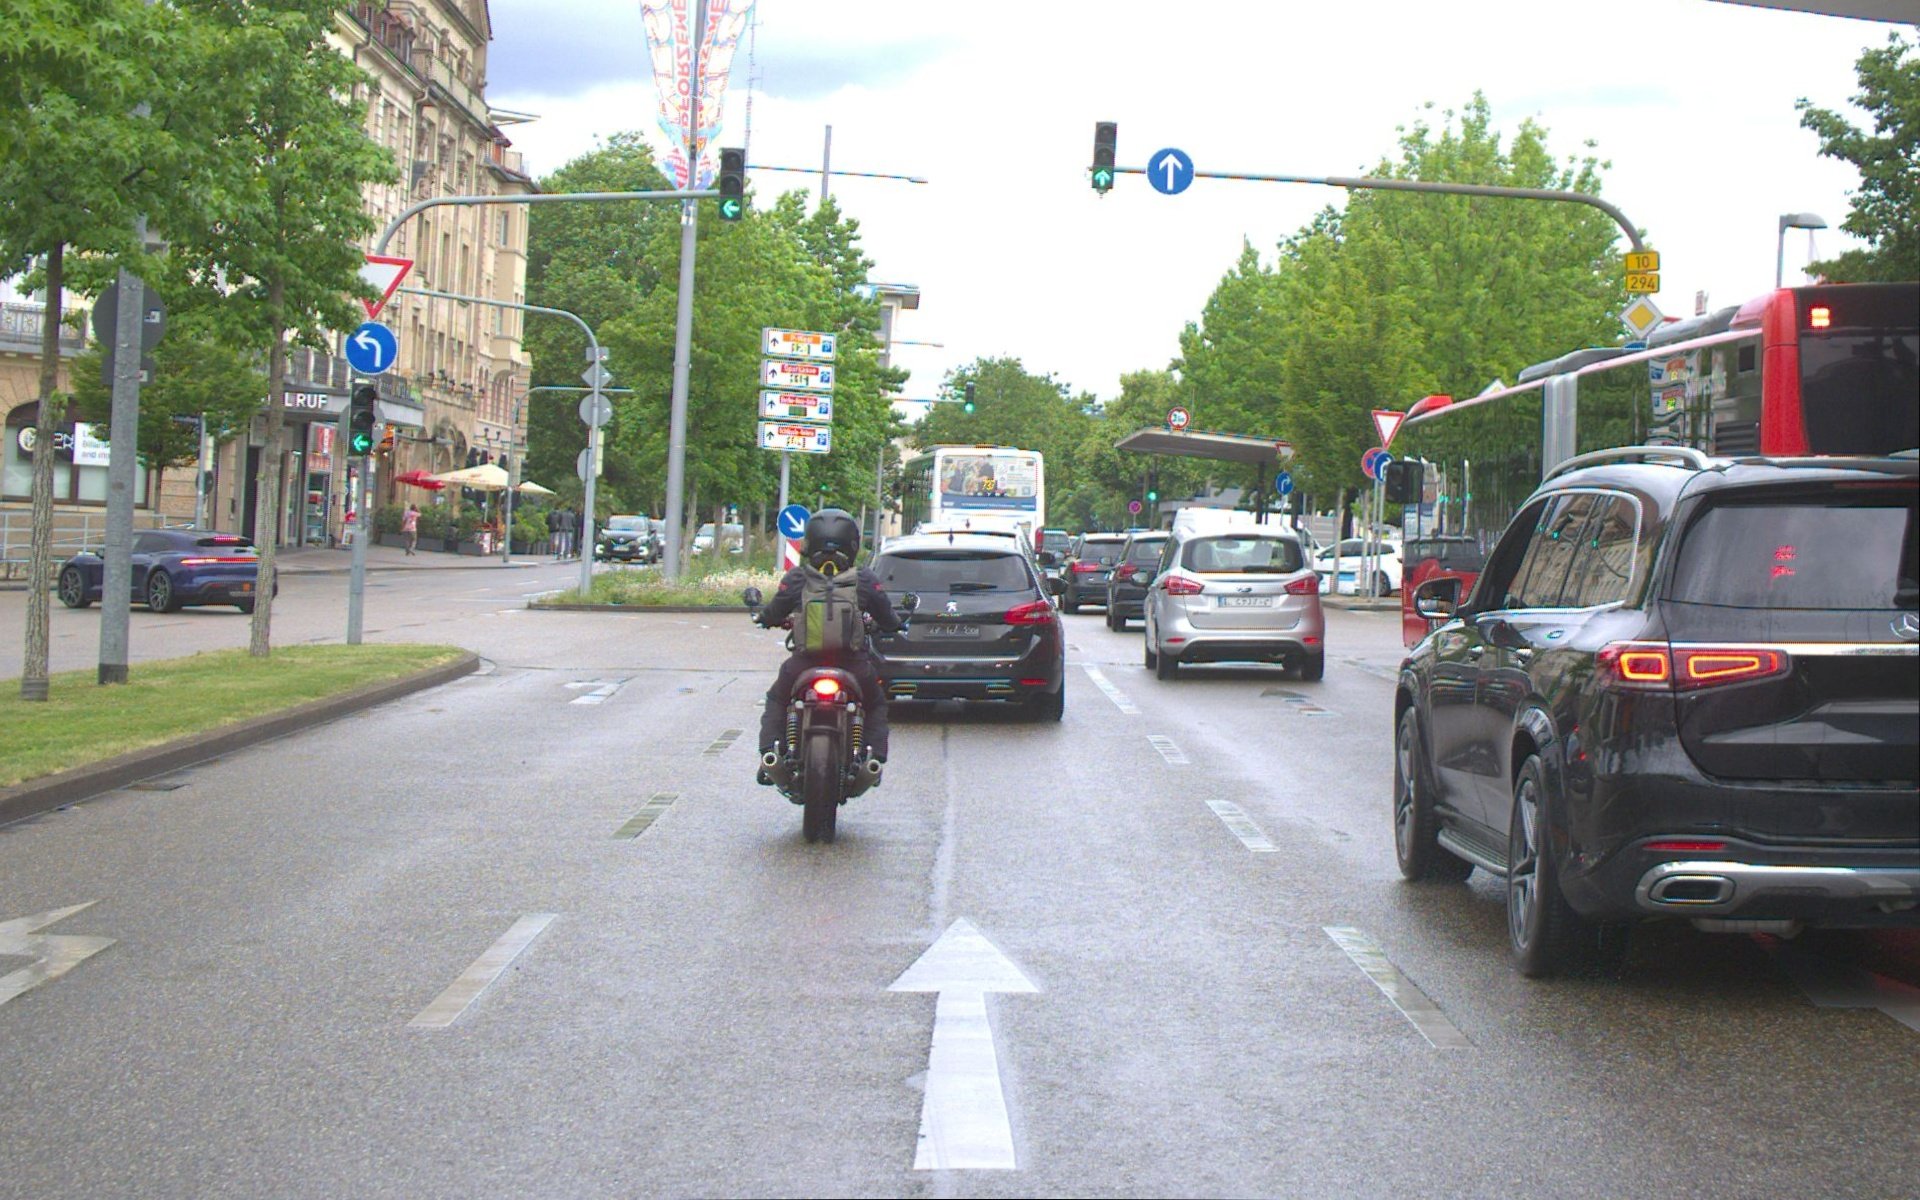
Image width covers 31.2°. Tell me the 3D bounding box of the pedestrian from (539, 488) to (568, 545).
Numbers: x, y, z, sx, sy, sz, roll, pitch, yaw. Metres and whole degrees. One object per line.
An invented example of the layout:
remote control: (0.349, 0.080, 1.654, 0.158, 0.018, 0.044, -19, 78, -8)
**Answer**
pedestrian: (-14.324, -2.945, 121.124, 0.724, 1.959, 0.826, 1, 1, -26)

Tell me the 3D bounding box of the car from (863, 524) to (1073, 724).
car: (0.081, 0.137, 27.759, 1.575, 1.499, 3.871, 0, 1, 1)

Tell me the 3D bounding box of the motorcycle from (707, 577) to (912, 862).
motorcycle: (-0.694, 0.533, 16.493, 0.793, 1.258, 1.855, 0, 1, 3)

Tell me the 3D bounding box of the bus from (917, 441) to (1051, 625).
bus: (0.475, -1.553, 81.783, 2.837, 3.974, 11.864, 2, 1, -1)

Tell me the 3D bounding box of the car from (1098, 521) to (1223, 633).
car: (2.886, -0.364, 50.118, 1.575, 1.562, 3.871, 0, 1, 0)

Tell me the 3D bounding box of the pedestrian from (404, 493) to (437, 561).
pedestrian: (-16.082, -2.194, 102.548, 0.724, 2.007, 0.826, 1, 1, -26)

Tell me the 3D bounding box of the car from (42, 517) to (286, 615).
car: (-13.329, -0.590, 57.458, 4.400, 1.565, 1.817, 1, 2, 43)

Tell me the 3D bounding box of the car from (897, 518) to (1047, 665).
car: (0.123, -0.134, 38.329, 1.575, 1.562, 3.871, 0, 1, 0)

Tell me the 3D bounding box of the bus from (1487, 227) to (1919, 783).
bus: (6.425, -0.644, 25.846, 3.286, 3.280, 10.878, 1, 1, 1)

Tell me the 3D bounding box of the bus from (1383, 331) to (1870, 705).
bus: (6.519, -0.822, 35.246, 3.291, 3.278, 8.849, 1, 1, 1)

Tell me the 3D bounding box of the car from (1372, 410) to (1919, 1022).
car: (2.826, 0.300, 12.938, 1.957, 1.869, 4.874, 0, 1, 0)

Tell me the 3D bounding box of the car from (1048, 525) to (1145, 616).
car: (2.400, -0.552, 61.088, 1.575, 1.562, 3.796, 0, 1, 0)

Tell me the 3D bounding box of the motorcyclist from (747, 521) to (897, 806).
motorcyclist: (-0.663, 0.295, 16.689, 0.641, 1.343, 0.689, 1, 1, 3)

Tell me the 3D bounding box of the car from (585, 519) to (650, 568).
car: (-11.081, -1.828, 111.407, 1.780, 1.562, 3.430, 0, 1, 0)

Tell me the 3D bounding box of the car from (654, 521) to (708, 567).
car: (-9.544, -1.936, 117.745, 1.575, 1.562, 3.430, 0, 1, 0)

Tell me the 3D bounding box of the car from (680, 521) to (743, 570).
car: (-7.914, -1.749, 109.625, 1.780, 1.562, 3.430, 0, 1, 0)

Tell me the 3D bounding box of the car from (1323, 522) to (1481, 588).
car: (10.767, -1.116, 83.999, 1.576, 1.562, 3.795, -1, 2, -39)

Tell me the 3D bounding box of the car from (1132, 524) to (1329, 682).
car: (2.765, -0.014, 35.873, 1.741, 1.562, 3.871, 0, 1, 0)
